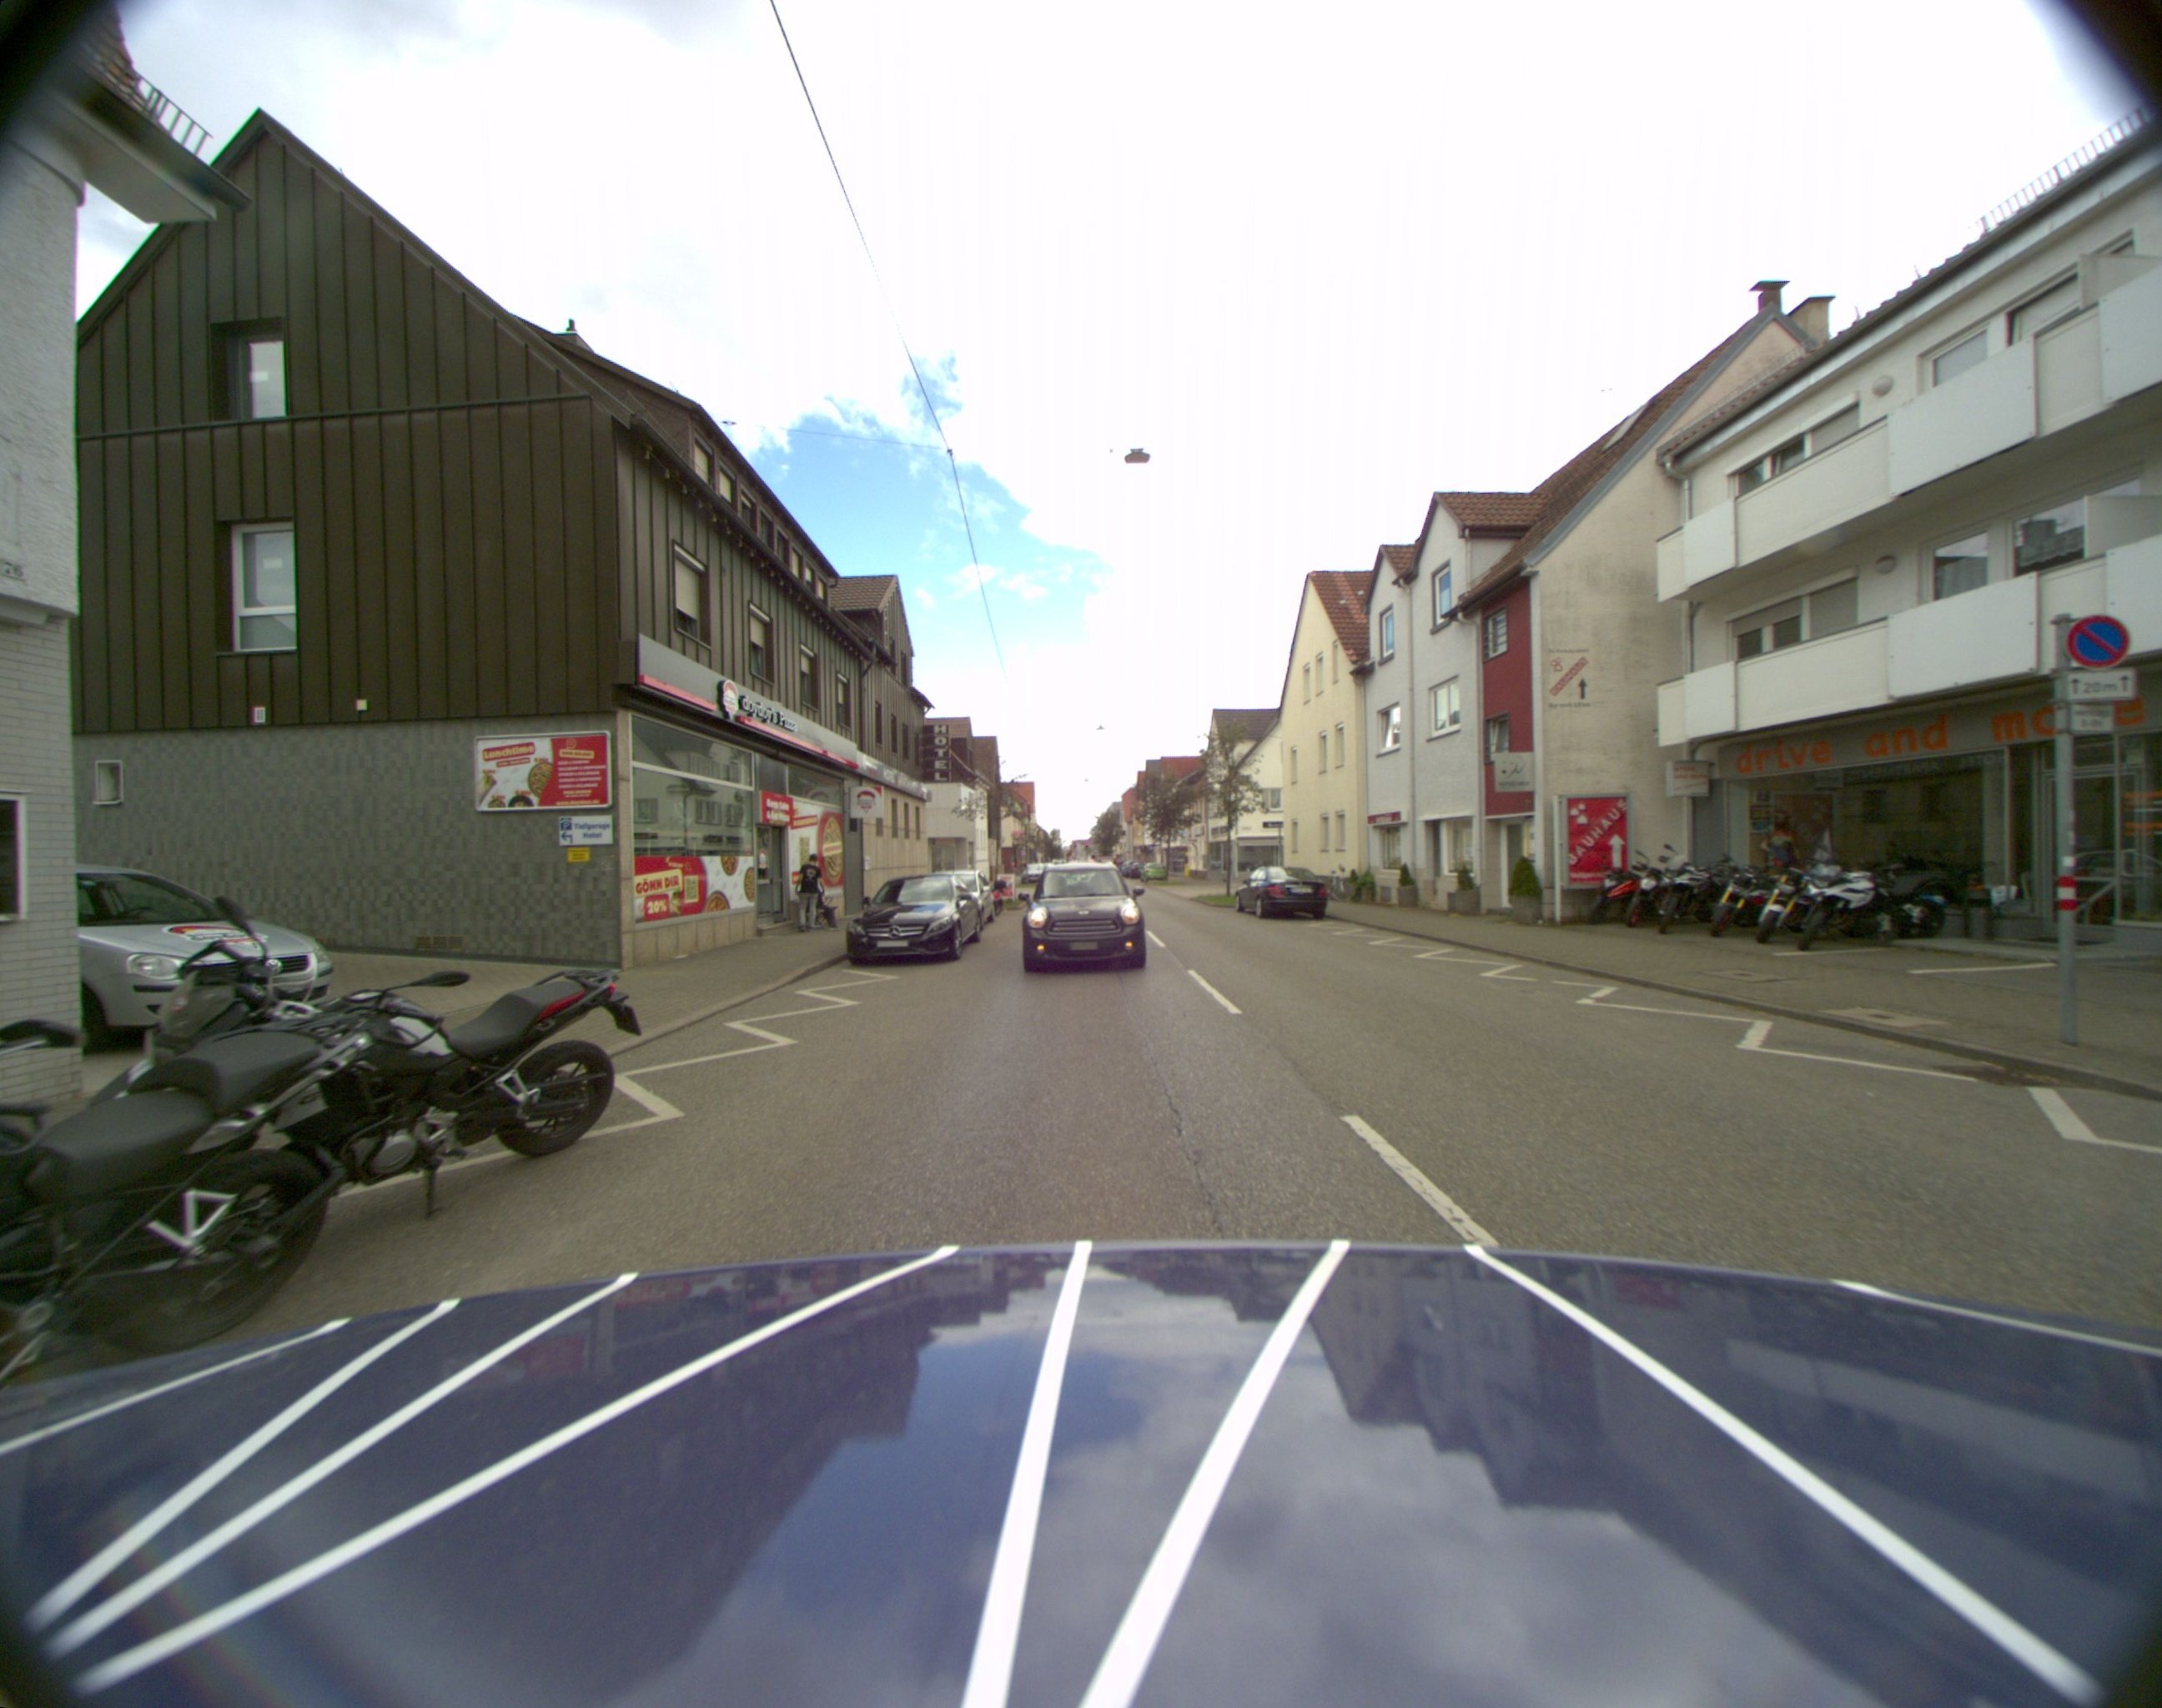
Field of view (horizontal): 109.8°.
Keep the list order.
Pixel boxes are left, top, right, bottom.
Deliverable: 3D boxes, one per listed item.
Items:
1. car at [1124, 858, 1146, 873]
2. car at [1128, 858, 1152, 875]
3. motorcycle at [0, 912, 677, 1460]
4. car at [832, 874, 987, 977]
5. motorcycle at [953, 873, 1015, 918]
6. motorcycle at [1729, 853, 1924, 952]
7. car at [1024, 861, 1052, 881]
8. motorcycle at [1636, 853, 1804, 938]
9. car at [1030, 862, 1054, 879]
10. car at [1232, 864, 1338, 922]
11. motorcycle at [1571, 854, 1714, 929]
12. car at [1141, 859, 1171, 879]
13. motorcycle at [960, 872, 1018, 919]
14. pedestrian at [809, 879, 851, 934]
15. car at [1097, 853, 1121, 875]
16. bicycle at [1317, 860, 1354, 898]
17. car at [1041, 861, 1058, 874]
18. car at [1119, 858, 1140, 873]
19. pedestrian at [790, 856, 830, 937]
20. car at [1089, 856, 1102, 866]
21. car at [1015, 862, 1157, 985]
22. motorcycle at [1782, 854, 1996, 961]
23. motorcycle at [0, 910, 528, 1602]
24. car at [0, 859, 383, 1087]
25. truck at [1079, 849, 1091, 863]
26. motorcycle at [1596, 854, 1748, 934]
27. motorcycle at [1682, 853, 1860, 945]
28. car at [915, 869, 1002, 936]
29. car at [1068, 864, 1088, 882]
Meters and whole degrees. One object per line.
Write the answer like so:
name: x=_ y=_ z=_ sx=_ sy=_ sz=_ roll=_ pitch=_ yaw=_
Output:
car: x=5.162 y=1.078 z=72.674 sx=1.715 sy=1.389 sz=3.900 roll=-2 pitch=0 yaw=-2
car: x=5.220 y=1.115 z=67.684 sx=1.715 sy=1.389 sz=3.900 roll=-2 pitch=0 yaw=-2
motorcycle: x=-3.176 y=1.093 z=3.518 sx=0.648 sy=1.432 sz=2.472 roll=-2 pitch=0 yaw=19
car: x=-2.926 y=1.162 z=14.003 sx=1.829 sy=1.400 sz=4.564 roll=-2 pitch=0 yaw=-1
motorcycle: x=-2.995 y=1.263 z=23.560 sx=1.874 sy=1.284 sz=0.531 roll=-2 pitch=1 yaw=-38
motorcycle: x=10.940 y=0.698 z=11.189 sx=2.231 sy=1.258 sz=0.613 roll=-4 pitch=1 yaw=-1
car: x=-3.154 y=1.216 z=55.853 sx=1.794 sy=1.356 sz=3.948 roll=0 pitch=0 yaw=0
motorcycle: x=10.839 y=0.682 z=12.925 sx=2.231 sy=1.258 sz=0.699 roll=-4 pitch=1 yaw=-1
car: x=-3.198 y=1.334 z=62.915 sx=1.794 sy=1.356 sz=3.948 roll=0 pitch=0 yaw=0
car: x=5.675 y=1.019 z=21.687 sx=1.792 sy=1.409 sz=4.340 roll=-1 pitch=0 yaw=-1
motorcycle: x=10.667 y=0.700 z=14.470 sx=2.231 sy=1.258 sz=0.613 roll=-4 pitch=1 yaw=-1
car: x=5.551 y=1.109 z=56.934 sx=1.715 sy=1.389 sz=3.900 roll=-2 pitch=0 yaw=-2
motorcycle: x=-2.728 y=1.228 z=22.611 sx=1.588 sy=1.284 sz=0.500 roll=-2 pitch=1 yaw=-30
pedestrian: x=-5.751 y=1.196 z=17.438 sx=0.742 sy=1.204 sz=0.644 roll=0 pitch=1 yaw=-1
car: x=2.494 y=0.905 z=68.714 sx=1.855 sy=1.932 sz=4.490 roll=0 pitch=0 yaw=-2
bicycle: x=8.685 y=0.824 z=25.960 sx=0.515 sy=1.189 sz=2.023 roll=-2 pitch=0 yaw=-1
car: x=-3.508 y=1.505 z=85.456 sx=1.794 sy=1.396 sz=3.948 roll=0 pitch=0 yaw=0
car: x=5.000 y=1.150 z=78.319 sx=1.715 sy=1.389 sz=3.900 roll=-2 pitch=0 yaw=-2
pedestrian: x=-5.912 y=0.913 z=16.631 sx=0.644 sy=1.730 sz=0.742 roll=0 pitch=1 yaw=-5
car: x=2.167 y=1.031 z=115.466 sx=1.779 sy=1.446 sz=4.000 roll=-2 pitch=0 yaw=0
car: x=0.003 y=0.962 z=12.578 sx=1.855 sy=1.527 sz=4.735 roll=-2 pitch=0 yaw=-2
motorcycle: x=10.920 y=0.700 z=10.307 sx=2.231 sy=1.258 sz=0.613 roll=-4 pitch=1 yaw=-1
motorcycle: x=-2.889 y=1.018 z=2.001 sx=0.672 sy=1.516 sz=2.599 roll=-2 pitch=0 yaw=7
car: x=-8.883 y=0.871 z=6.438 sx=4.209 sy=1.579 sz=1.855 roll=1 pitch=0 yaw=0
truck: x=0.959 y=0.497 z=180.498 sx=2.800 sy=3.020 sz=8.250 roll=-2 pitch=0 yaw=0
motorcycle: x=10.689 y=0.712 z=13.777 sx=2.231 sy=1.258 sz=0.613 roll=-4 pitch=1 yaw=-1
motorcycle: x=10.936 y=0.696 z=12.077 sx=2.231 sy=1.258 sz=0.613 roll=-4 pitch=1 yaw=-1
car: x=-3.121 y=1.188 z=20.009 sx=1.645 sy=1.433 sz=3.902 roll=-2 pitch=0 yaw=-1
car: x=-0.287 y=1.852 z=75.498 sx=1.855 sy=1.615 sz=4.736 roll=-2 pitch=0 yaw=1
